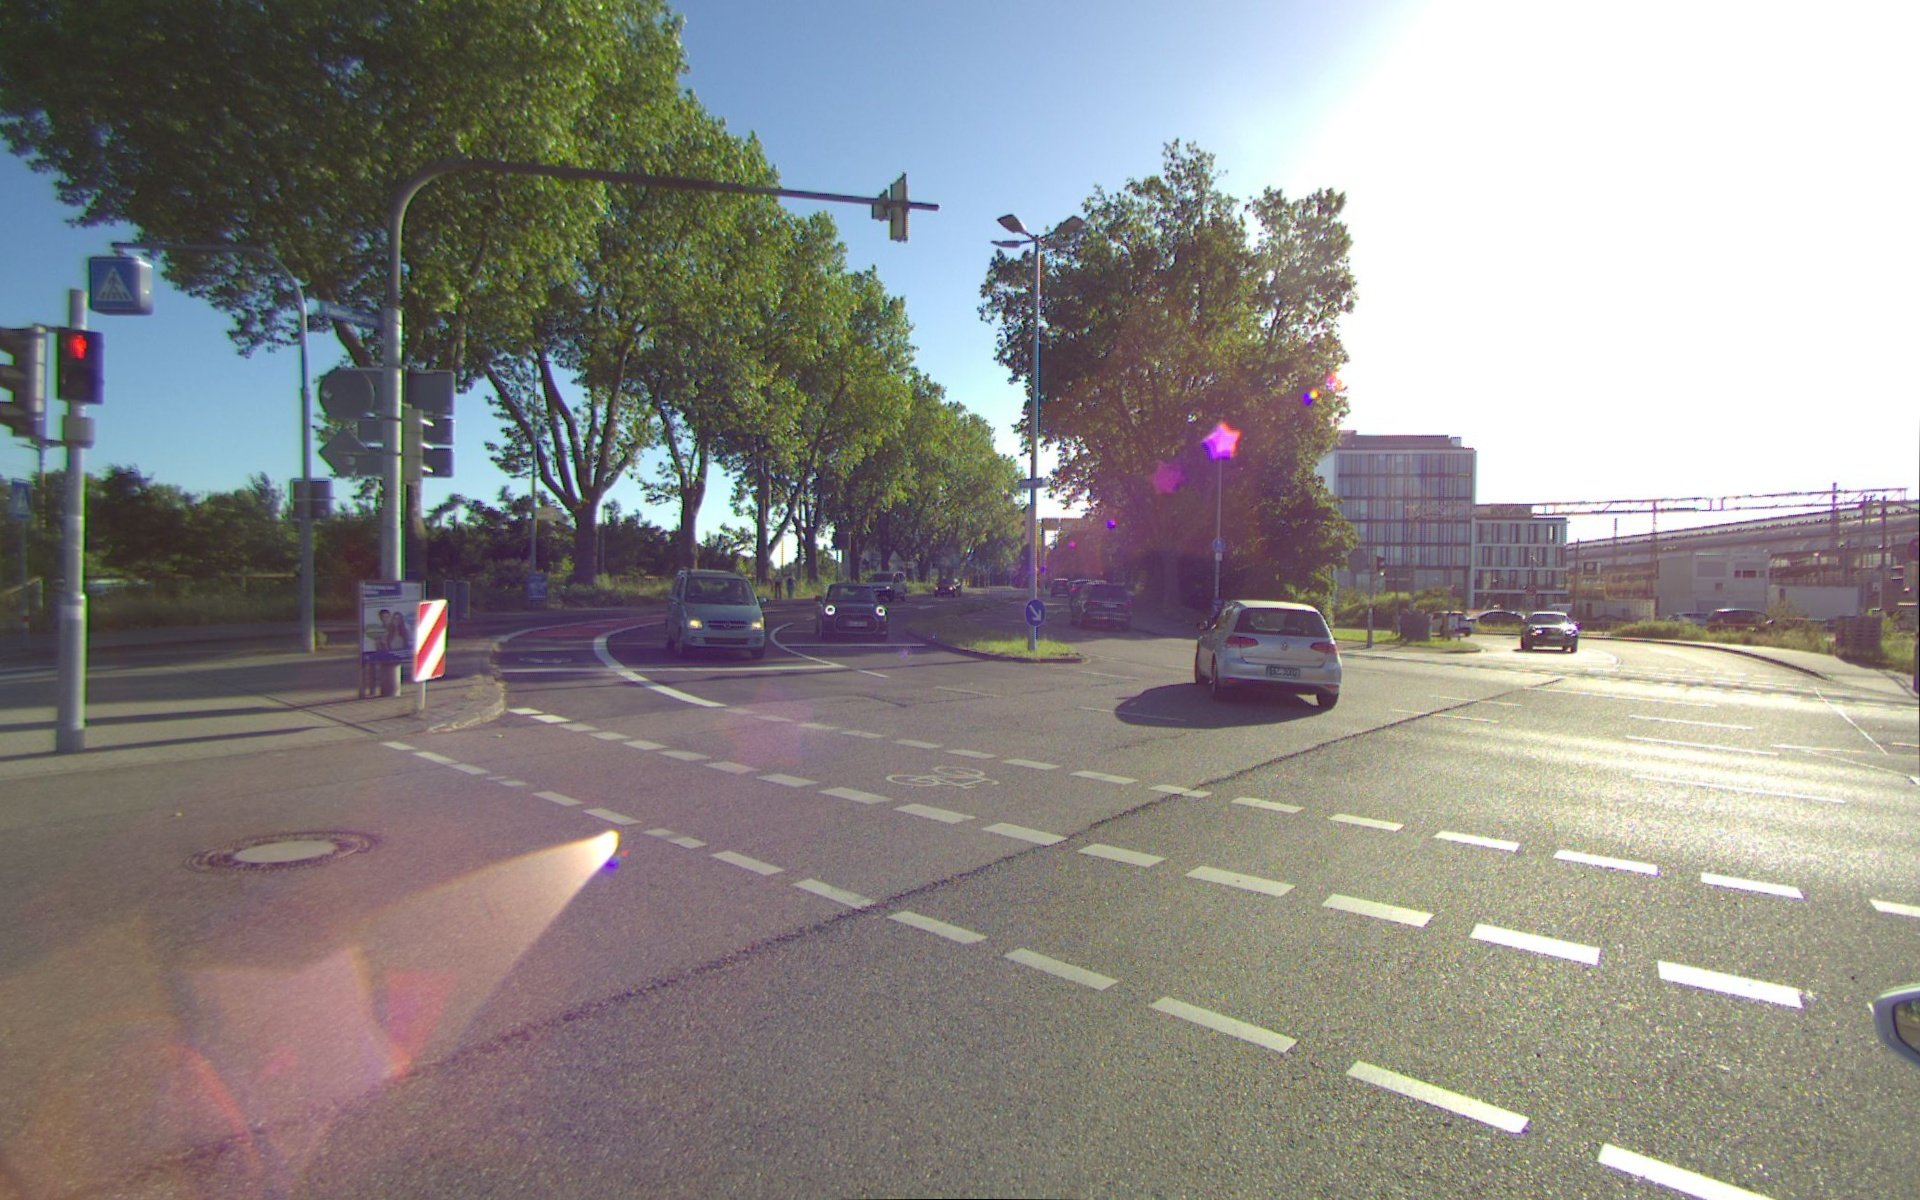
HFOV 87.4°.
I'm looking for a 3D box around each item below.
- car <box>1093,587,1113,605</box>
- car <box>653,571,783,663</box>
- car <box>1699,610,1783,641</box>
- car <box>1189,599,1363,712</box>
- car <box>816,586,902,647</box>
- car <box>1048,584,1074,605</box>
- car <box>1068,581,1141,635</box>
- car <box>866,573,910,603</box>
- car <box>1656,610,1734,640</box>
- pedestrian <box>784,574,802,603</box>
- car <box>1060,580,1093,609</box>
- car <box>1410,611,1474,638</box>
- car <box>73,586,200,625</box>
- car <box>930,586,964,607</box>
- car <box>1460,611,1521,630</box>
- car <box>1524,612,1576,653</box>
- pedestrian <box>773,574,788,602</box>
[{"bbox_3d":[14.309,-0.414,100.519,1.822,1.672,4.268,1,1,6],"label":"car"},{"bbox_3d":[-5.003,0.285,20.359,1.893,1.657,4.098,2,1,-23],"label":"car"},{"bbox_3d":[50.364,1.620,64.839,3.920,1.728,1.616,3,1,17],"label":"car"},{"bbox_3d":[4.683,0.744,15.455,1.936,1.446,3.939,2,0,9],"label":"car"},{"bbox_3d":[-2.746,0.376,26.565,1.875,1.446,3.928,2,1,-11],"label":"car"},{"bbox_3d":[9.060,-0.482,89.825,1.822,1.767,4.268,2,1,12],"label":"car"},{"bbox_3d":[5.604,0.281,39.517,2.078,1.913,4.812,2,0,0],"label":"car"},{"bbox_3d":[-4.336,-0.724,61.259,1.822,1.767,4.268,1,1,8],"label":"car"},{"bbox_3d":[50.370,1.674,68.912,3.920,1.812,1.655,3,1,17],"label":"car"},{"bbox_3d":[-9.467,-0.656,56.927,0.716,1.613,0.805,2,1,10],"label":"pedestrian"},{"bbox_3d":[7.306,-0.334,63.170,1.909,1.736,4.202,1,1,5],"label":"car"},{"bbox_3d":[29.683,1.478,61.930,1.720,1.496,3.996,1,1,-5],"label":"car"},{"bbox_3d":[-40.555,0.247,49.524,4.861,1.788,2.001,2,1,7],"label":"car"},{"bbox_3d":[-1.044,-0.286,82.482,1.822,1.620,4.327,2,1,12],"label":"car"},{"bbox_3d":[57.920,2.240,109.719,5.608,1.869,1.917,2,1,3],"label":"car"},{"bbox_3d":[23.969,1.265,40.862,1.722,1.496,3.992,2,1,30],"label":"car"},{"bbox_3d":[-10.216,-0.675,57.105,0.652,1.607,0.632,2,1,10],"label":"pedestrian"}]
